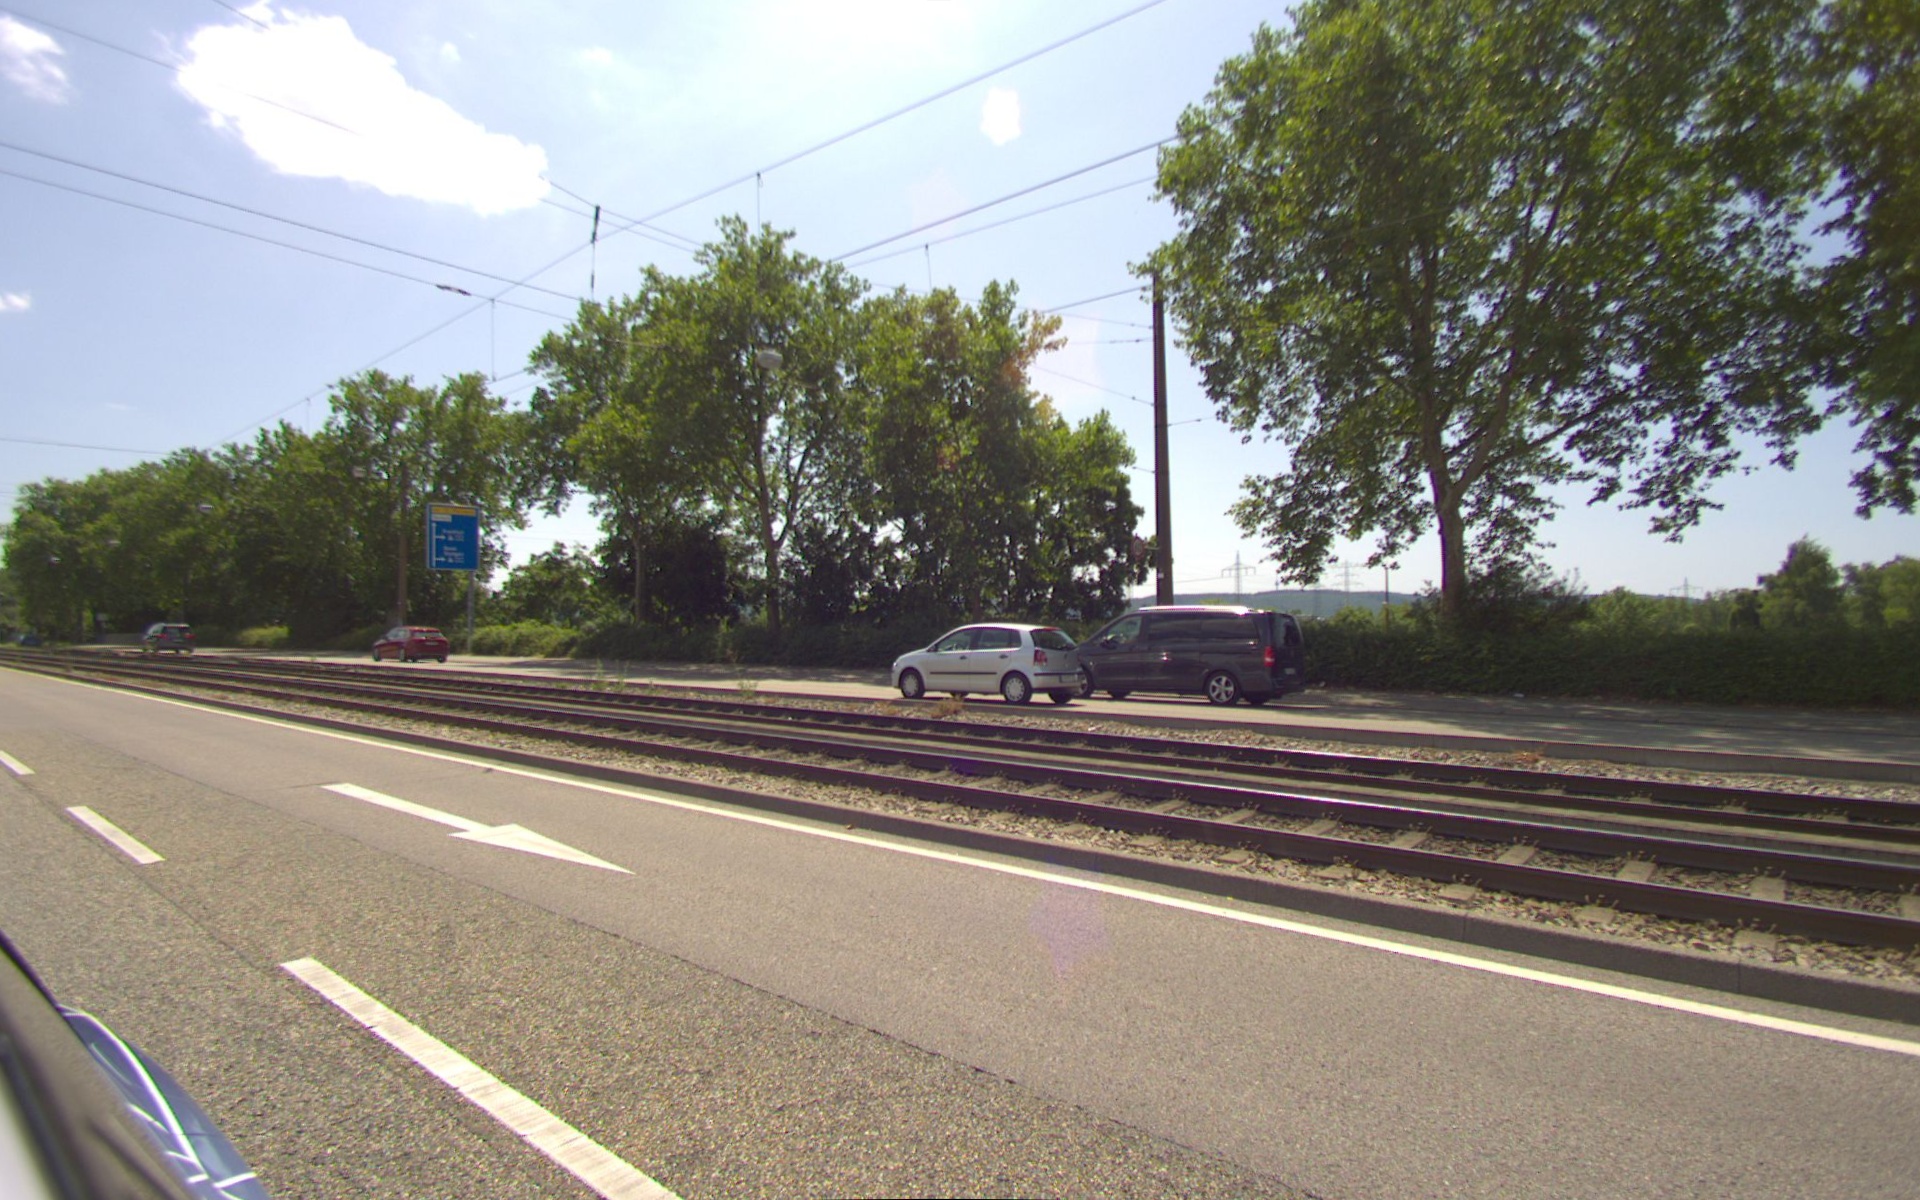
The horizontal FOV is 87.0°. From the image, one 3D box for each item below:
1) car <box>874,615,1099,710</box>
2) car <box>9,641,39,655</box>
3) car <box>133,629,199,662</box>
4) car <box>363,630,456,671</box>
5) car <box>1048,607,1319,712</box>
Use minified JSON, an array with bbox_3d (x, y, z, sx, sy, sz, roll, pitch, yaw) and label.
[{"bbox_3d":[0.436,1.158,19.000,4.055,1.596,1.668,-2,-5,40],"label":"car"},{"bbox_3d":[-105.892,5.420,114.490,4.731,1.515,1.780,-2,-4,40],"label":"car"},{"bbox_3d":[-46.757,2.672,59.584,4.965,1.845,1.973,-2,-5,40],"label":"car"},{"bbox_3d":[-23.844,2.163,43.779,4.464,1.683,1.973,-2,-4,40],"label":"car"},{"bbox_3d":[4.369,1.166,20.289,4.965,1.845,1.973,-2,-4,40],"label":"car"}]
